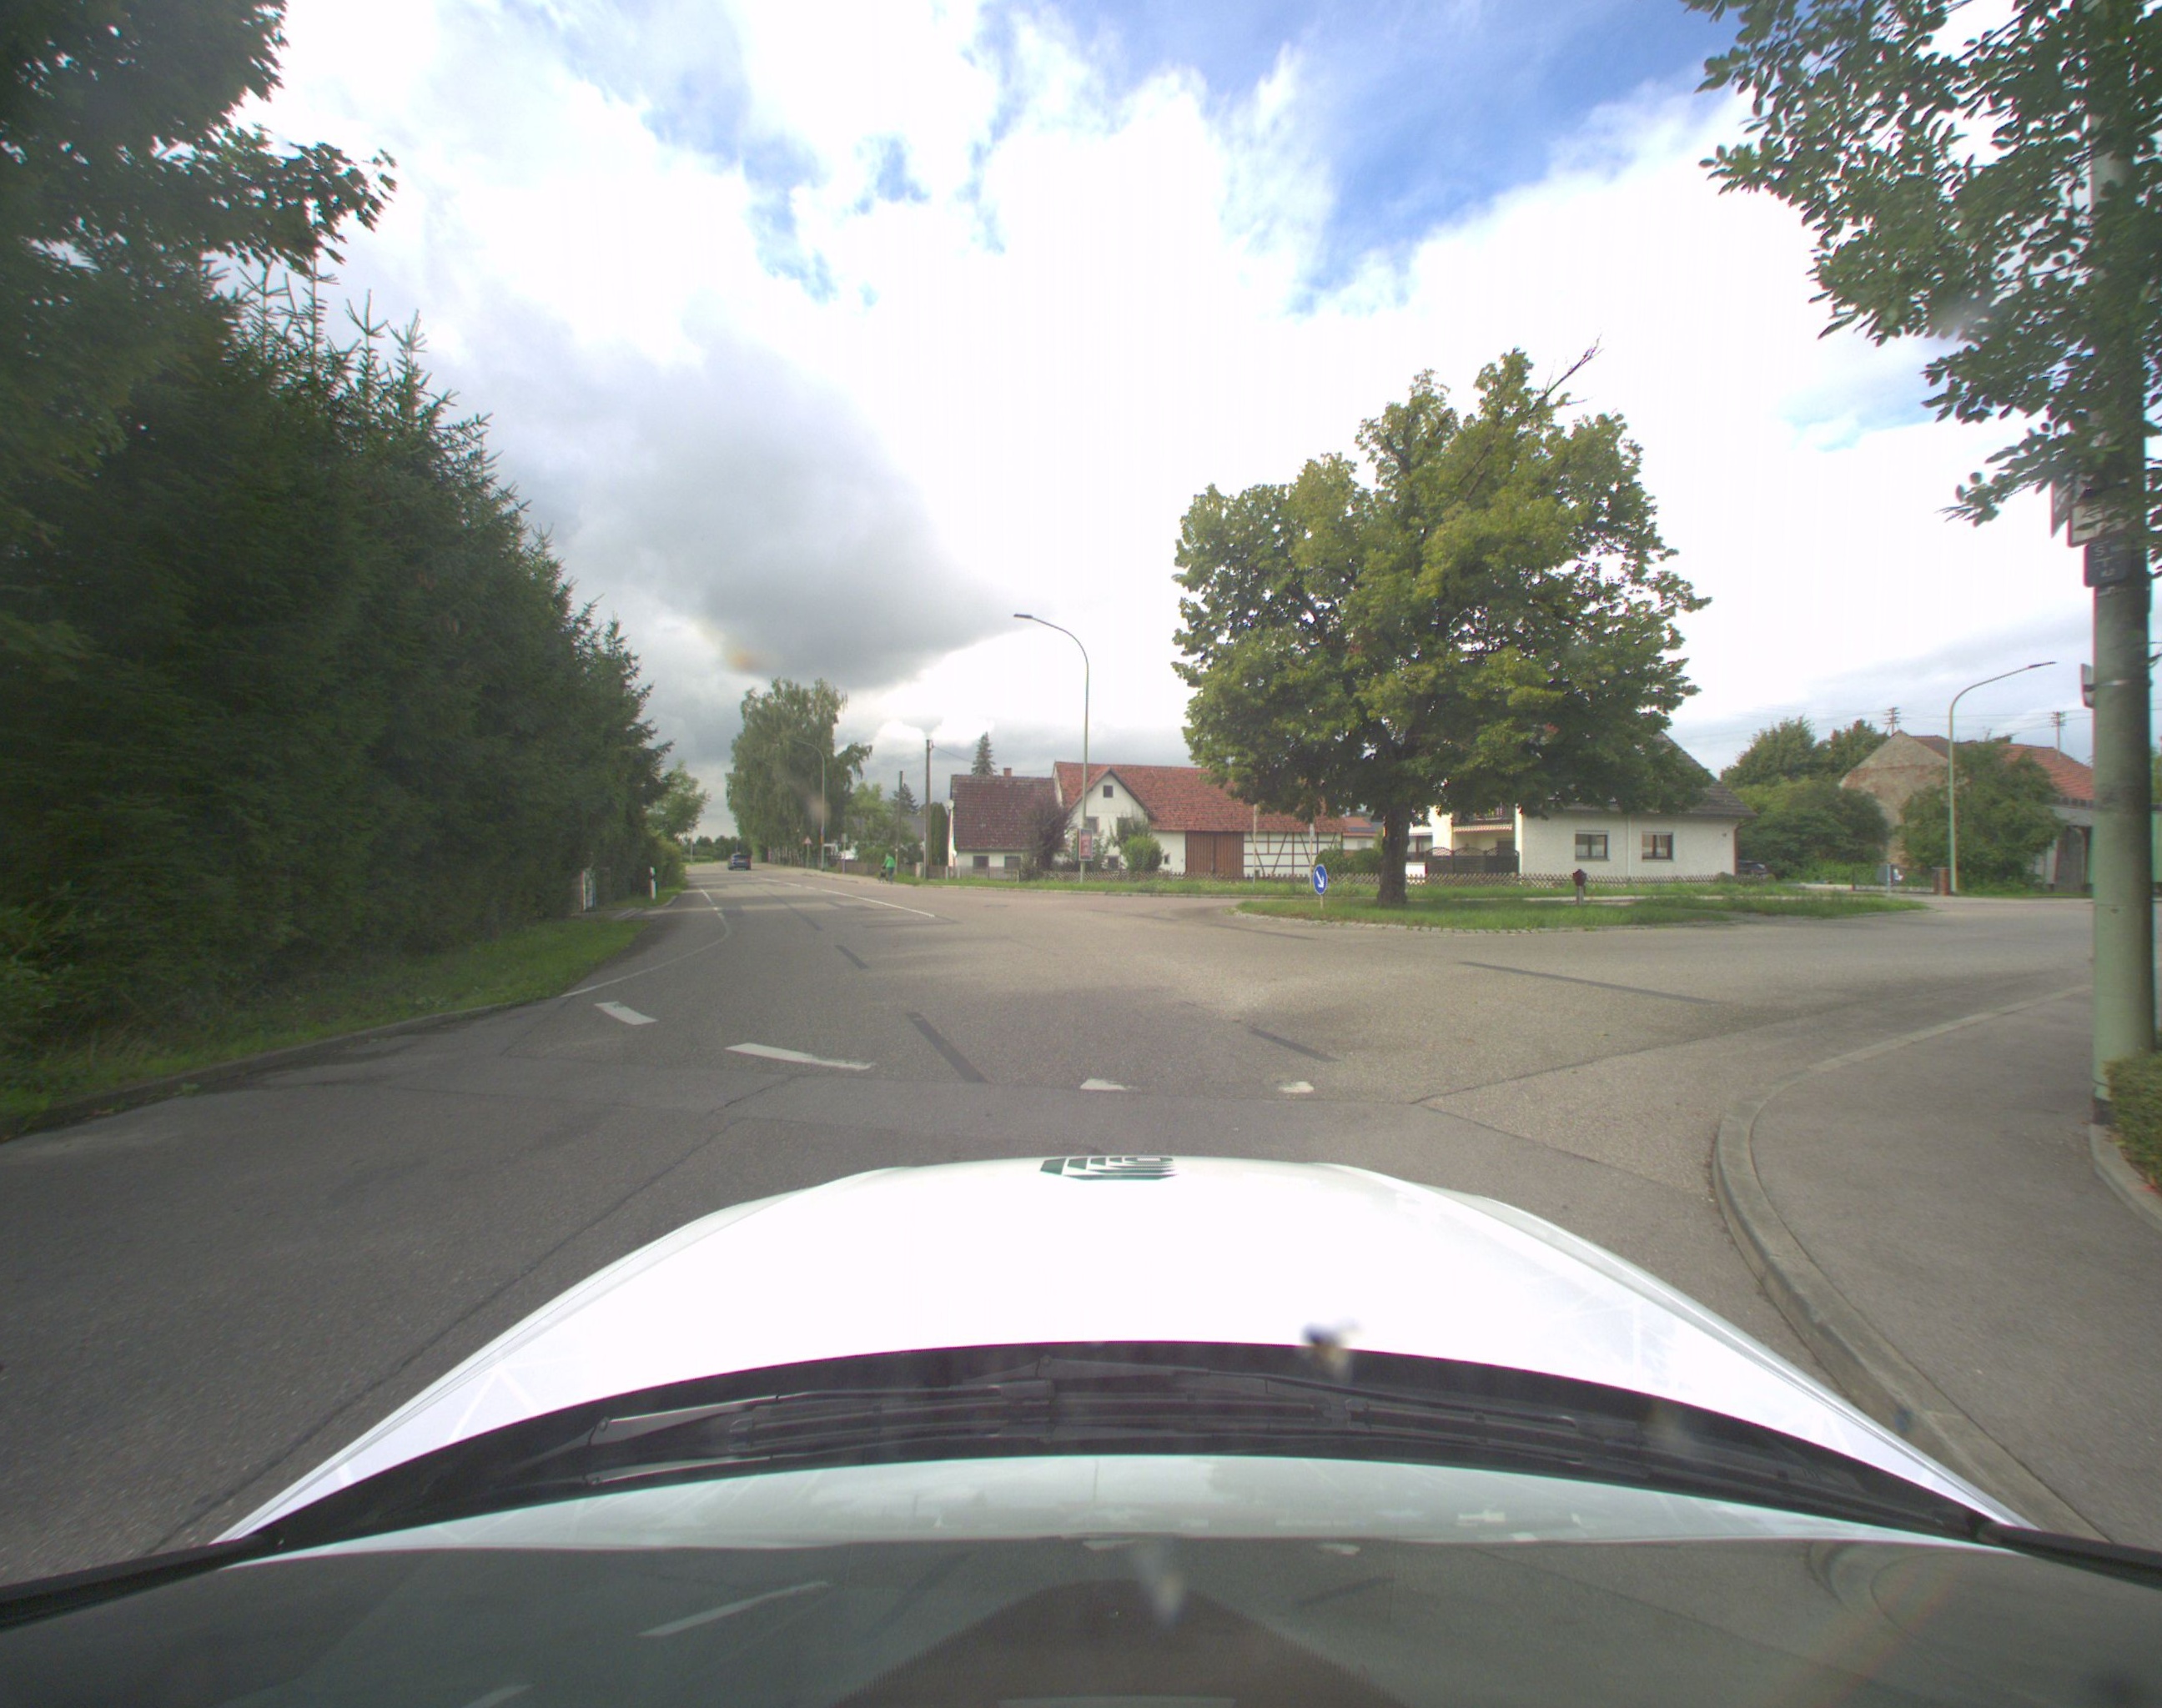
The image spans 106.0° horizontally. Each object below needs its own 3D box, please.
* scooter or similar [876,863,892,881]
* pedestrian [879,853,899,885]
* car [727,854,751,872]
[{"bbox_3d":[-10.958,0.979,45.304,0.634,0.948,0.616,5,-3,-31],"label":"scooter or similar"},{"bbox_3d":[-10.547,0.822,44.726,0.793,1.665,0.705,5,-3,-31],"label":"pedestrian"},{"bbox_3d":[-32.662,0.845,77.868,2.002,1.552,3.970,1,0,-22],"label":"car"}]
